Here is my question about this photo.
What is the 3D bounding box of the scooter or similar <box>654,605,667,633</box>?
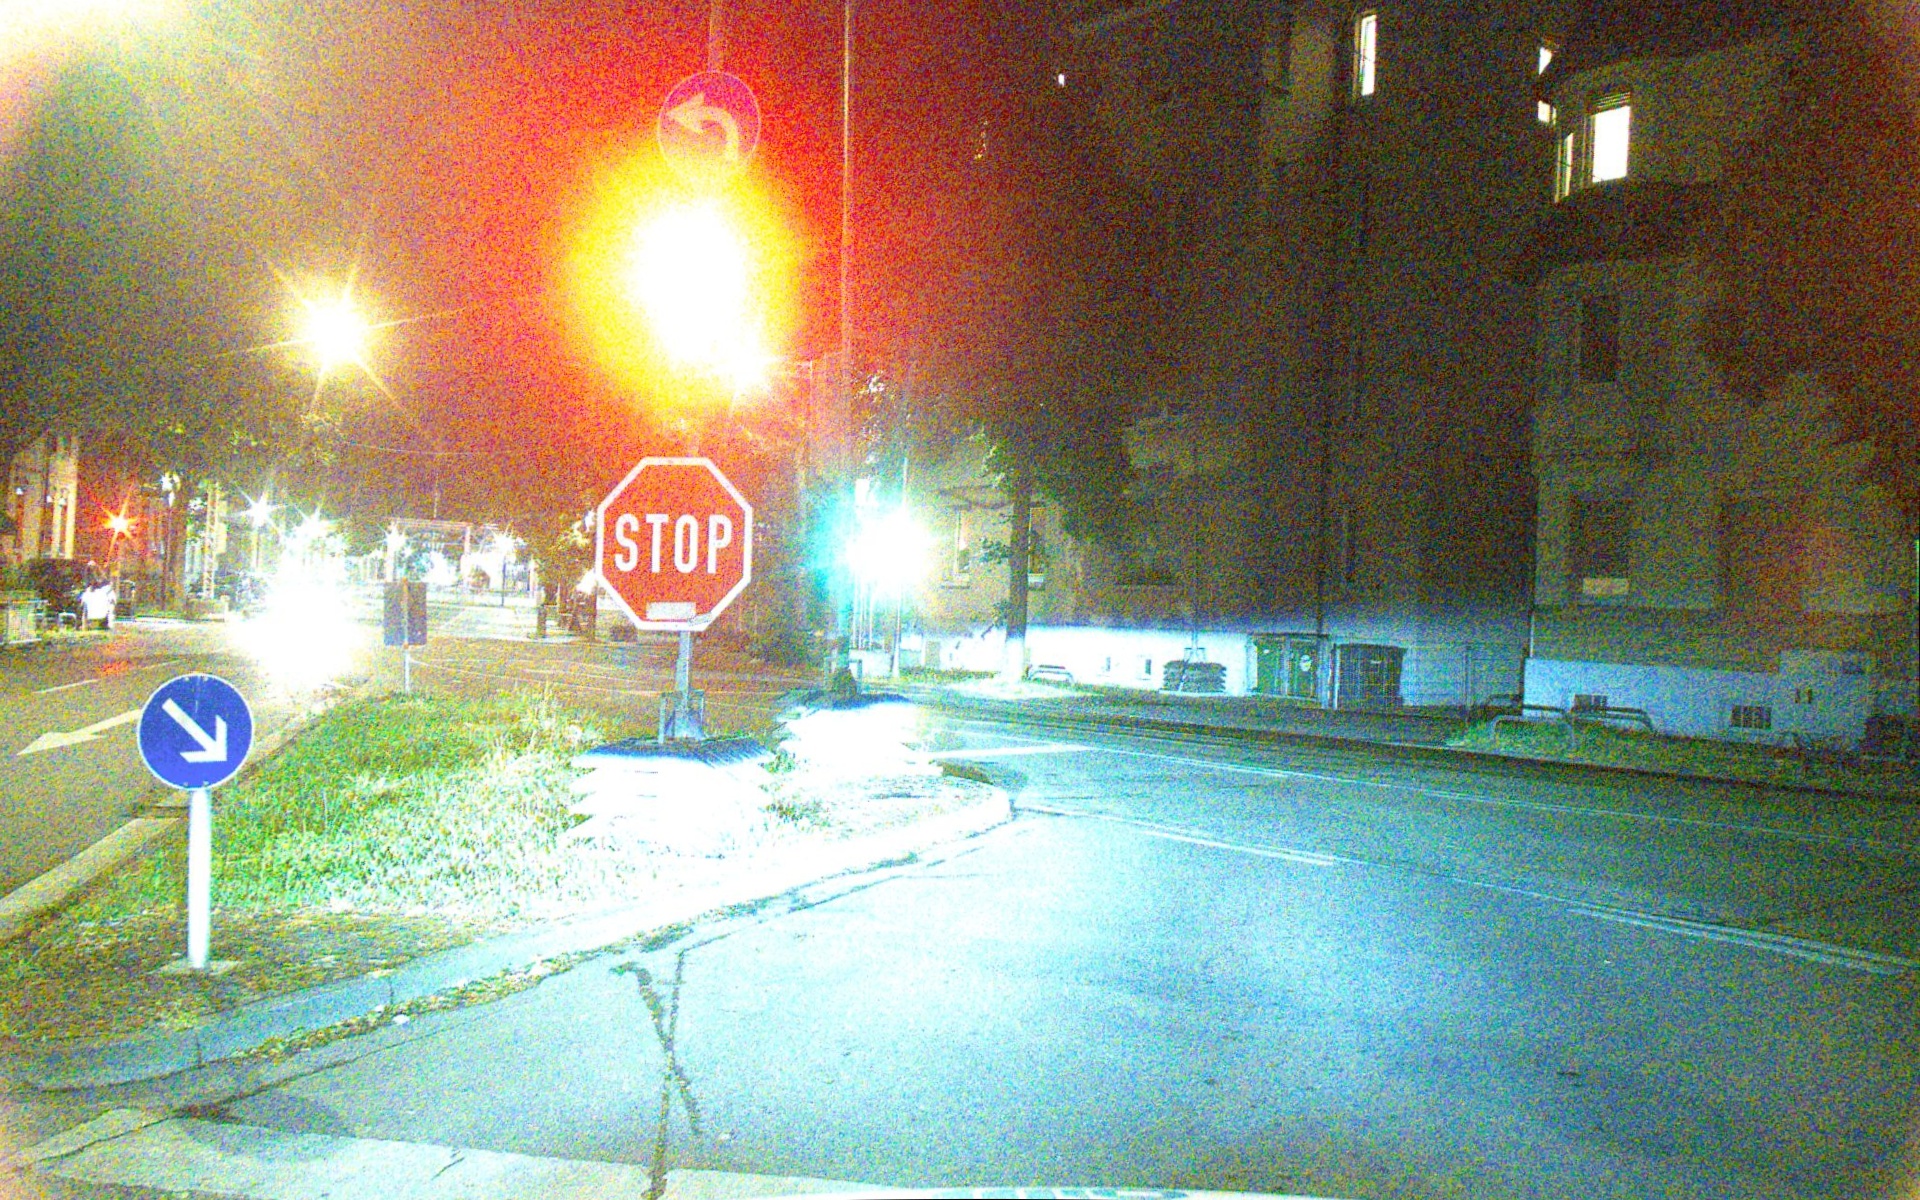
[{"bbox_3d":[-12.429,0.789,68.652,0.414,1.150,1.491,2,0,-8],"label":"scooter or similar"}]

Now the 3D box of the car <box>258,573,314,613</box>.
[{"bbox_3d":[-29.274,-0.324,71.902,1.757,1.517,3.981,6,-1,-17],"label":"car"}]

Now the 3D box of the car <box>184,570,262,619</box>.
[{"bbox_3d":[-25.759,-0.176,57.943,1.564,1.517,3.689,6,-1,-11],"label":"car"}]

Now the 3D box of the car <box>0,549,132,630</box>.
[{"bbox_3d":[-20.466,-0.225,37.729,1.854,1.624,4.009,5,-1,-14],"label":"car"}]

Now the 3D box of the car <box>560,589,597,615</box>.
[{"bbox_3d":[-24.021,0.137,104.033,1.708,1.485,4.701,4,-1,-19],"label":"car"}]

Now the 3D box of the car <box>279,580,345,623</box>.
[{"bbox_3d":[-22.946,0.039,58.650,1.687,1.454,3.984,1,0,-15],"label":"car"}]

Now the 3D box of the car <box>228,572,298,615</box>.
[{"bbox_3d":[-27.861,-0.255,66.252,1.754,1.517,4.314,6,-1,-14],"label":"car"}]

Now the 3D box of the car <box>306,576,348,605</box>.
[{"bbox_3d":[-35.181,-0.566,91.987,1.756,1.440,4.107,5,-1,-17],"label":"car"}]
